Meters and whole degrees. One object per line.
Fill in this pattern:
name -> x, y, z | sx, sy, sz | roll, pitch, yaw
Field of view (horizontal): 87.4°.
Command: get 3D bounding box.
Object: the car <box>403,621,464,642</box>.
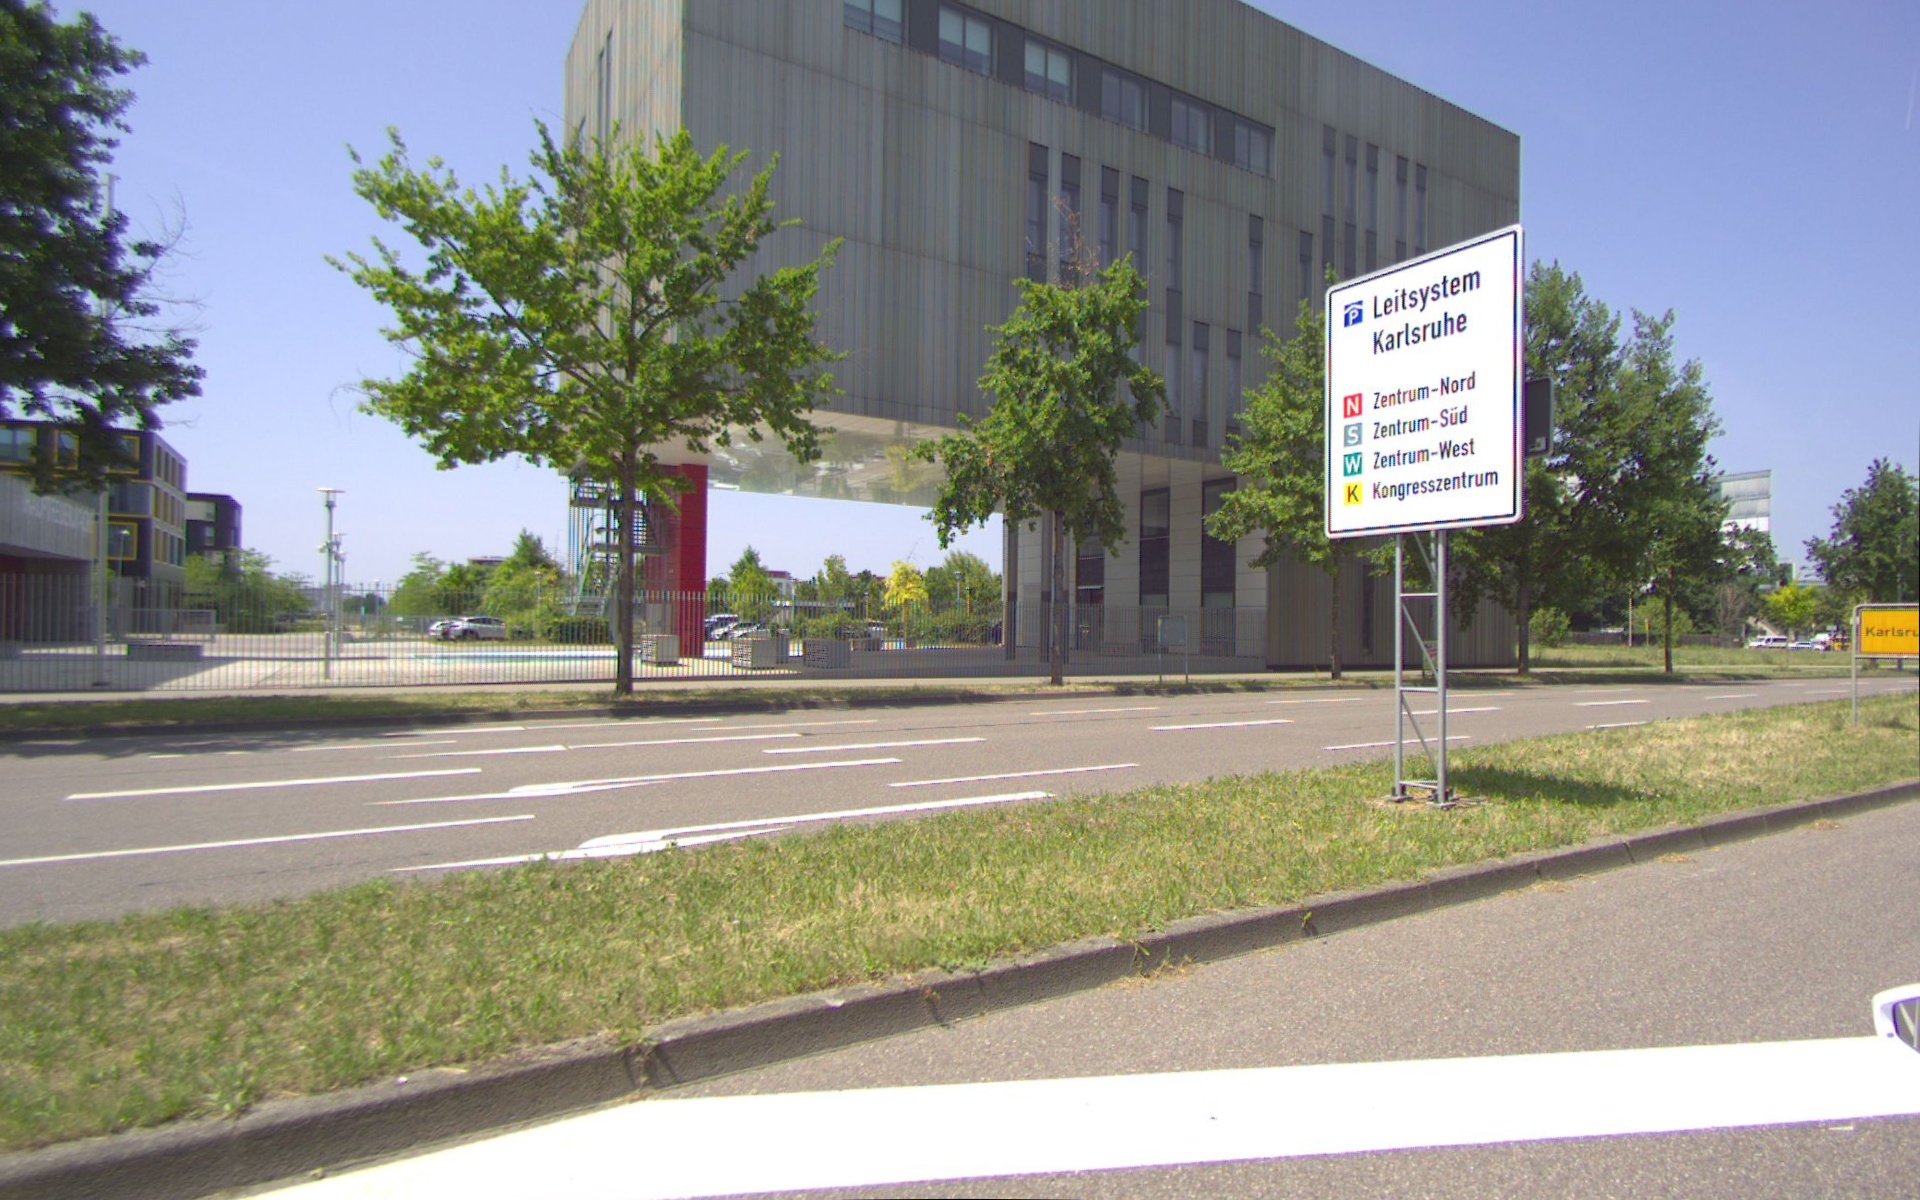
car -> -36.729, 2.182, 70.058 | 3.730, 1.428, 1.649 | 1, -1, -30

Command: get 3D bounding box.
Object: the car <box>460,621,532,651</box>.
car -> -27.556, 2.119, 59.675 | 3.730, 1.719, 1.649 | 1, -1, -30

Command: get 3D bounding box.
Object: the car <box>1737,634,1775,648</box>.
car -> 119.766, 6.180, 151.187 | 4.205, 1.903, 2.000 | 1, -1, 0

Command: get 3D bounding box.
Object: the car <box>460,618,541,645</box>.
car -> -25.791, 1.771, 56.360 | 3.953, 1.405, 1.984 | 1, -1, -30

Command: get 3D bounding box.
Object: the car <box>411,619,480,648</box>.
car -> -31.889, 2.072, 62.235 | 3.730, 1.719, 1.649 | 1, -1, -30

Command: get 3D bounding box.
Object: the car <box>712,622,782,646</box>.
car -> -14.954, 2.374, 70.480 | 4.464, 1.603, 2.016 | 1, -1, -27
